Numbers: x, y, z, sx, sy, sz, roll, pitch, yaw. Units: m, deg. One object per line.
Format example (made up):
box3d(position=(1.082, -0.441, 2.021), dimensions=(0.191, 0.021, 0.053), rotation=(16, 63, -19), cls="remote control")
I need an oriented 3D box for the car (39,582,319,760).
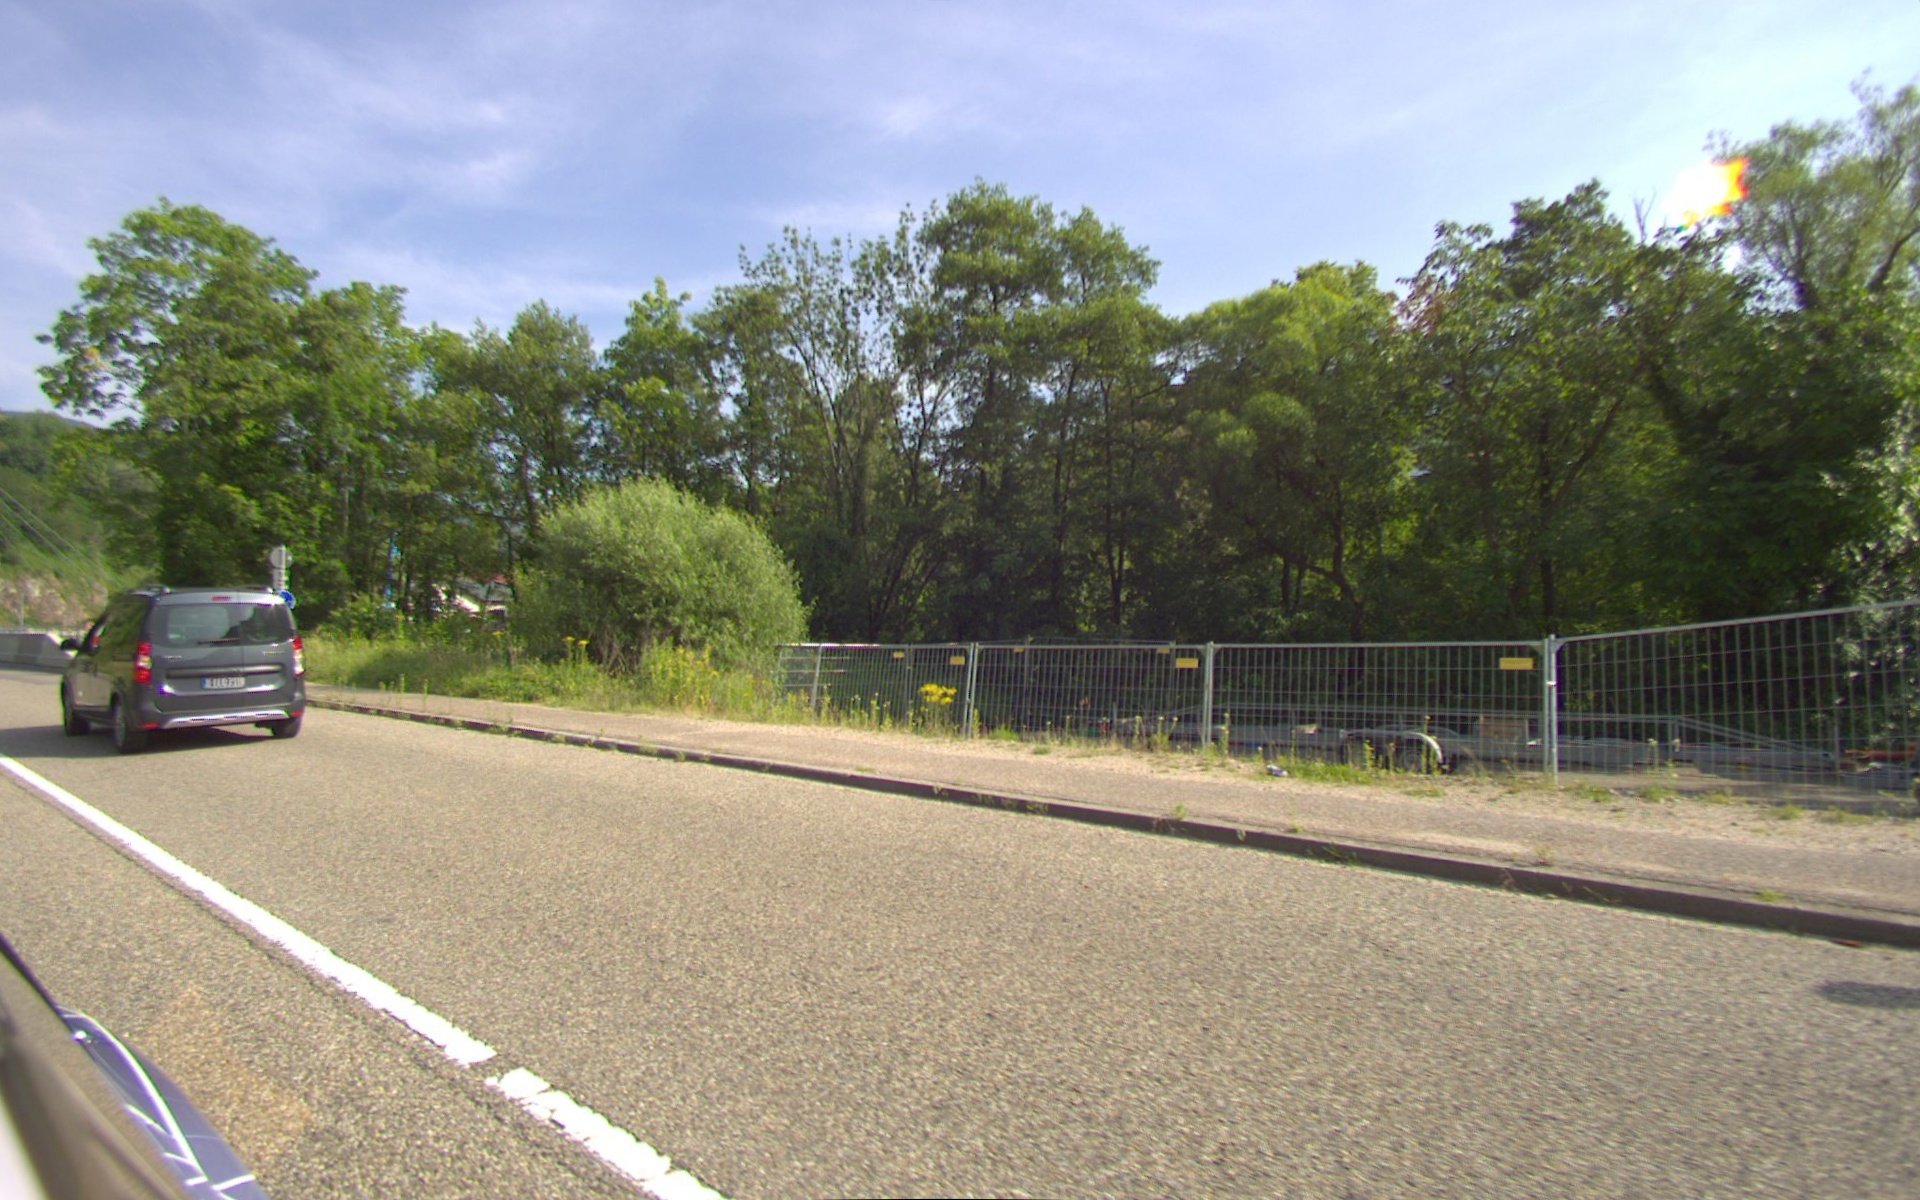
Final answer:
box3d(position=(-9.713, 0.754, 12.437), dimensions=(4.681, 1.798, 1.832), rotation=(-1, -1, 41), cls="car")
